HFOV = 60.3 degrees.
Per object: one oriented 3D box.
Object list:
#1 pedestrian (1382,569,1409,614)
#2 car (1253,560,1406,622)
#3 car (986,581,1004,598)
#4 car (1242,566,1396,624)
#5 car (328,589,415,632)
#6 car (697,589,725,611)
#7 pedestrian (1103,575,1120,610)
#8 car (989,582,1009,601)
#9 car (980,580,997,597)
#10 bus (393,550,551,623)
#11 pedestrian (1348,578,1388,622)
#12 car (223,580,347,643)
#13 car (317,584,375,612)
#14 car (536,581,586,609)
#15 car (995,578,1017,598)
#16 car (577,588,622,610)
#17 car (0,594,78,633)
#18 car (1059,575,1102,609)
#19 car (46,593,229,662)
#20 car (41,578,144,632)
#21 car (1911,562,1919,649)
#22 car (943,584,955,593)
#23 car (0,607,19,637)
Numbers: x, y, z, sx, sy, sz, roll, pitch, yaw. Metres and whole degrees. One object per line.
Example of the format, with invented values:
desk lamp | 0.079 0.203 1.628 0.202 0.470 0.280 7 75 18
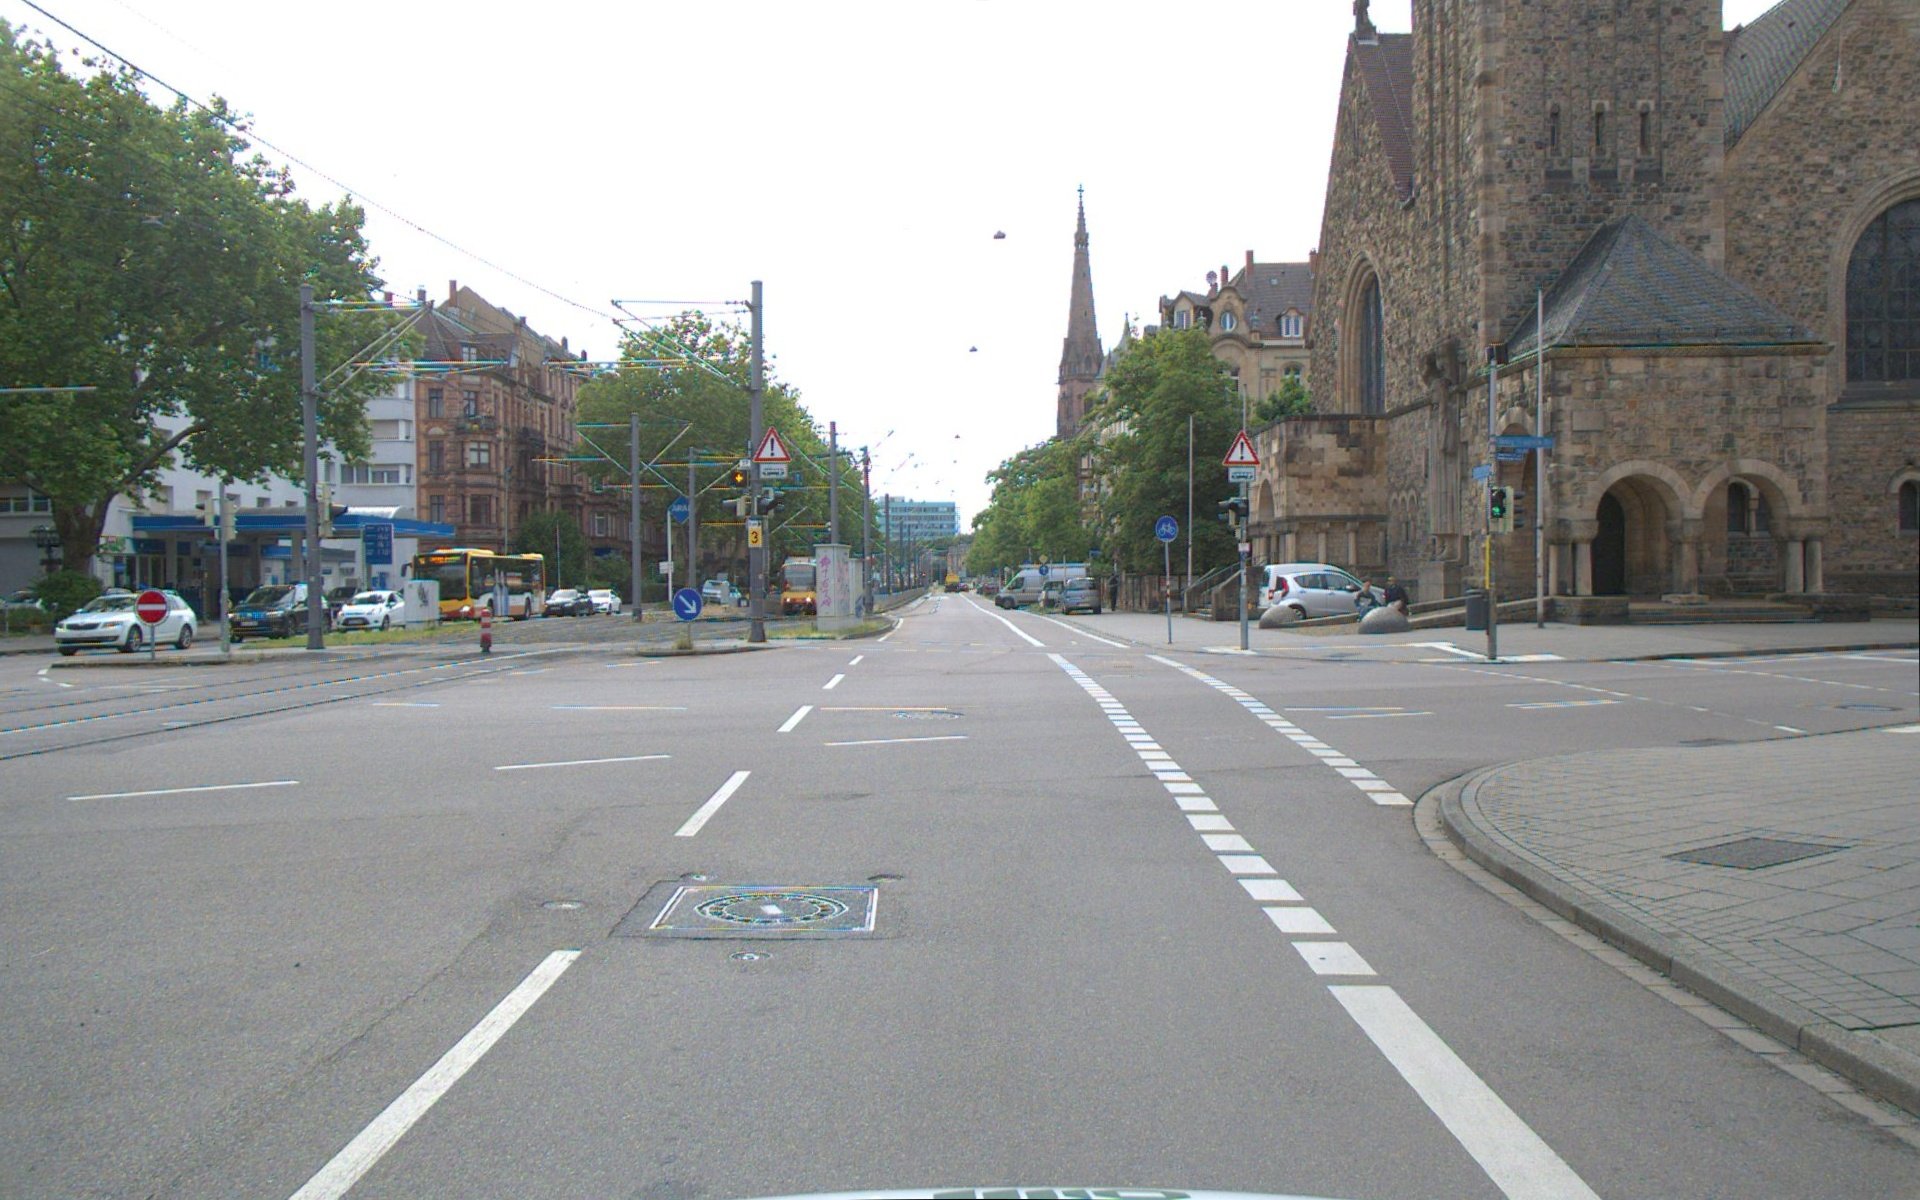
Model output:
pedestrian | 12.250 -0.235 46.540 0.721 1.250 1.063 1 0 14
car | 11.856 -0.295 53.208 4.516 1.914 1.662 1 0 -1
car | 4.127 -1.227 195.704 1.953 1.959 3.999 1 1 -2
car | 10.770 -0.163 49.794 4.260 1.665 1.662 1 0 -1
car | -20.806 0.339 58.626 1.667 1.422 3.891 1 1 0
car | -20.184 -0.036 134.004 1.667 1.742 3.891 1 1 0
pedestrian | 7.262 -0.368 79.172 0.760 1.676 0.799 1 0 5
car | 4.109 -0.924 175.766 1.953 2.049 3.999 1 1 -2
car | 3.522 -1.394 203.164 1.953 2.049 3.999 1 1 -2
bus | -21.220 -0.614 72.935 3.214 2.906 12.381 1 1 0
pedestrian | 11.357 -0.008 46.084 0.721 1.212 1.493 1 1 0
car | -20.559 0.310 50.601 1.667 1.814 5.150 1 1 0
car | -31.195 -0.109 84.088 1.667 1.382 3.404 1 1 0
car | -20.958 -0.286 86.929 1.667 1.382 3.891 1 1 0
car | 4.359 -1.163 157.304 1.953 1.914 4.000 -1 1 -1
car | -20.495 -0.072 94.159 1.667 1.242 3.891 1 1 0
car | -37.220 0.516 65.983 1.953 1.492 4.000 -1 1 -1
car | 5.436 -0.366 75.142 1.667 1.484 3.891 1 1 0
car | -20.645 0.642 41.845 1.803 1.552 5.702 1 1 -1
car | -34.472 0.175 65.837 1.953 2.049 4.000 -1 1 -1
car | 19.198 0.019 29.835 3.832 1.555 1.641 -2 -1 -26
car | -1.740 -1.800 262.376 1.768 1.364 3.999 -1 1 -2
car | -39.755 0.938 66.404 1.693 1.195 4.009 -1 1 -1
